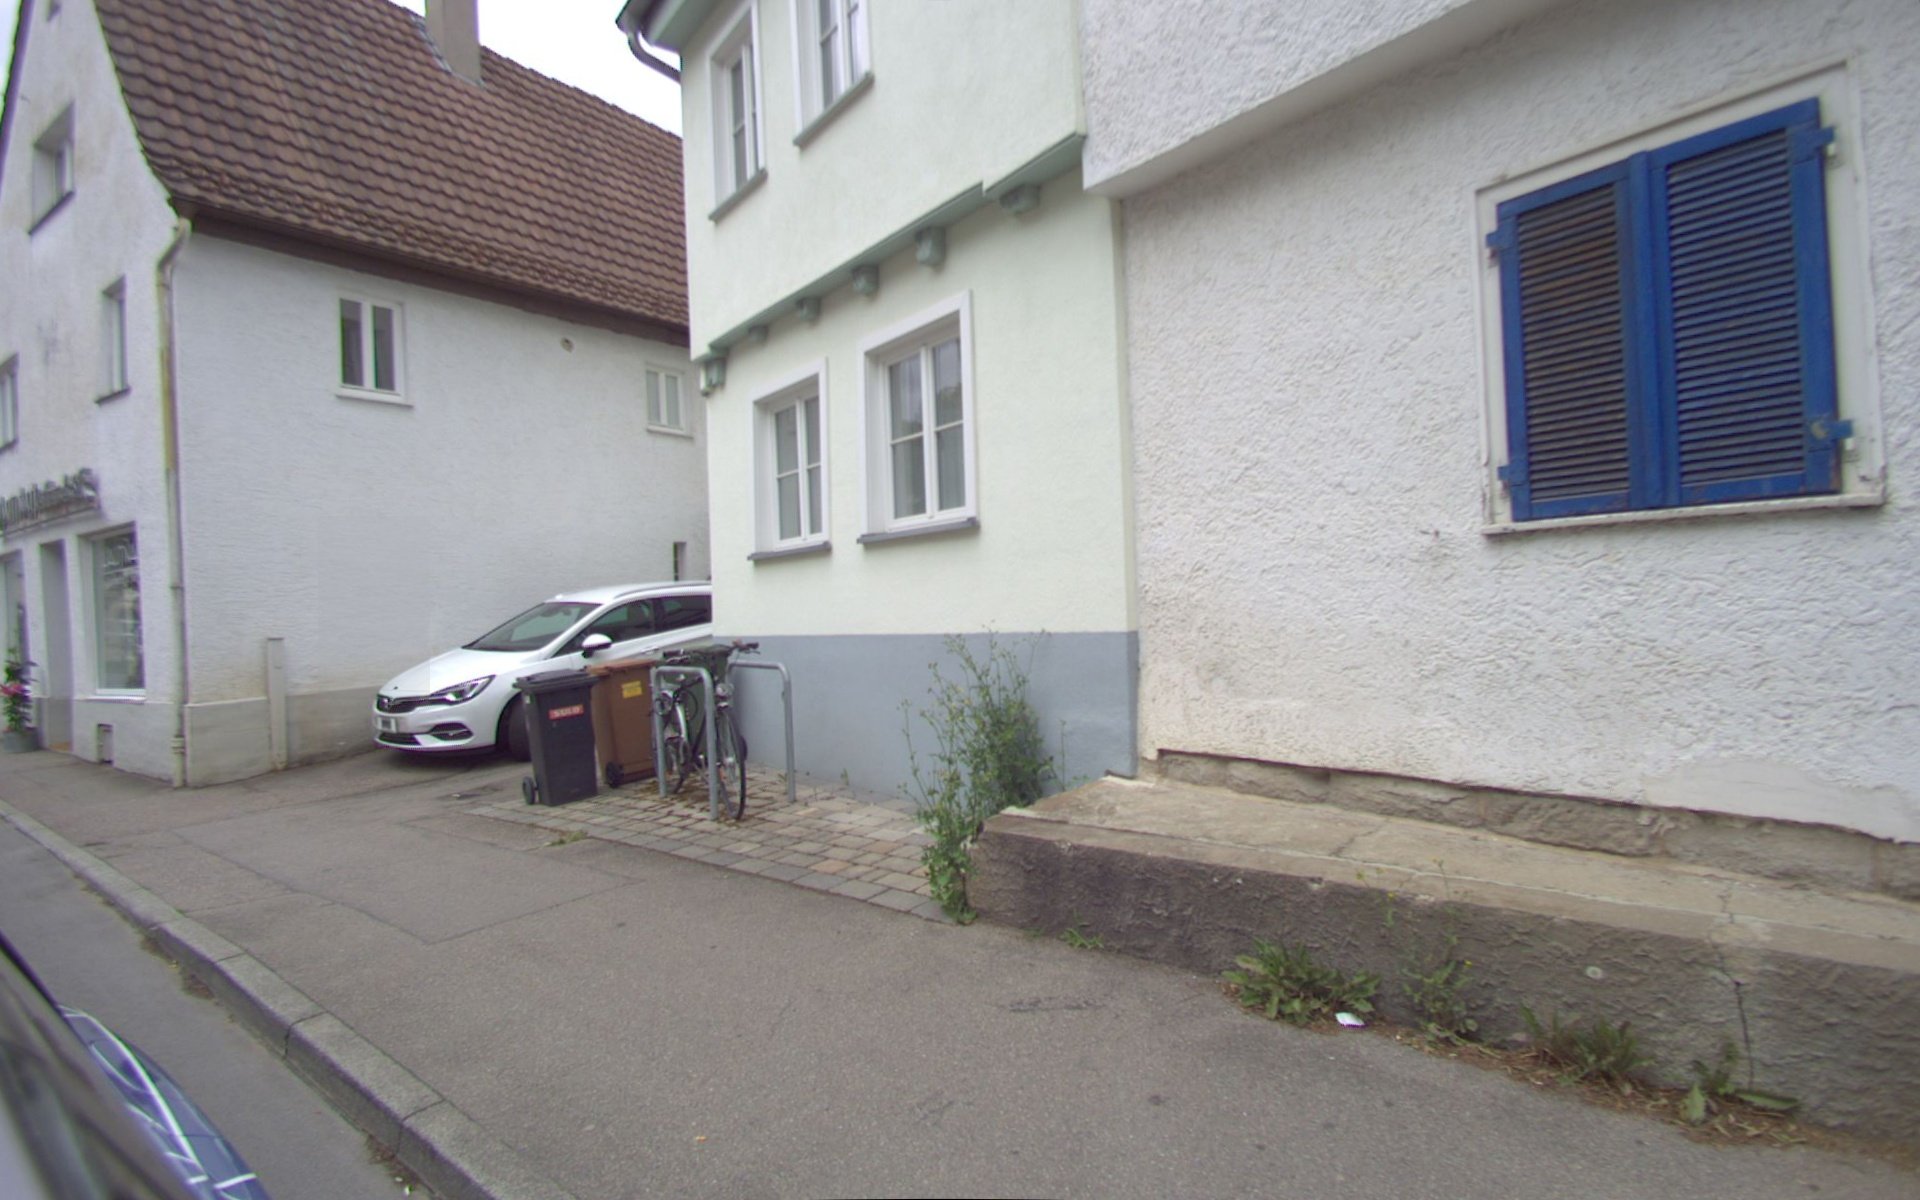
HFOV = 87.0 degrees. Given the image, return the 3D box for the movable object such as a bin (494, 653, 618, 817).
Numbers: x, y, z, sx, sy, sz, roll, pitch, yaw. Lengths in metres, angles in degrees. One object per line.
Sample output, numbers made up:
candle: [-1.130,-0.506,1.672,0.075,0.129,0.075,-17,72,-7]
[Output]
movable object such as a bin: [-2.820,0.912,7.058,0.546,1.007,0.588,-8,2,-38]

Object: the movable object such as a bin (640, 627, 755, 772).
movable object such as a bin: [-2.062,0.760,7.937,0.549,1.007,0.623,-9,4,-39]

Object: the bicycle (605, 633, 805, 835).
bicycle: [-1.699,0.765,6.462,0.436,1.046,2.097,-7,2,-34]

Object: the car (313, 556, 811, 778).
car: [-3.895,0.459,10.722,1.974,1.510,4.500,1,7,35]

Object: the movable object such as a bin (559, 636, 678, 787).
movable object such as a bin: [-2.582,0.823,7.637,0.562,1.007,0.600,-8,2,-39]
